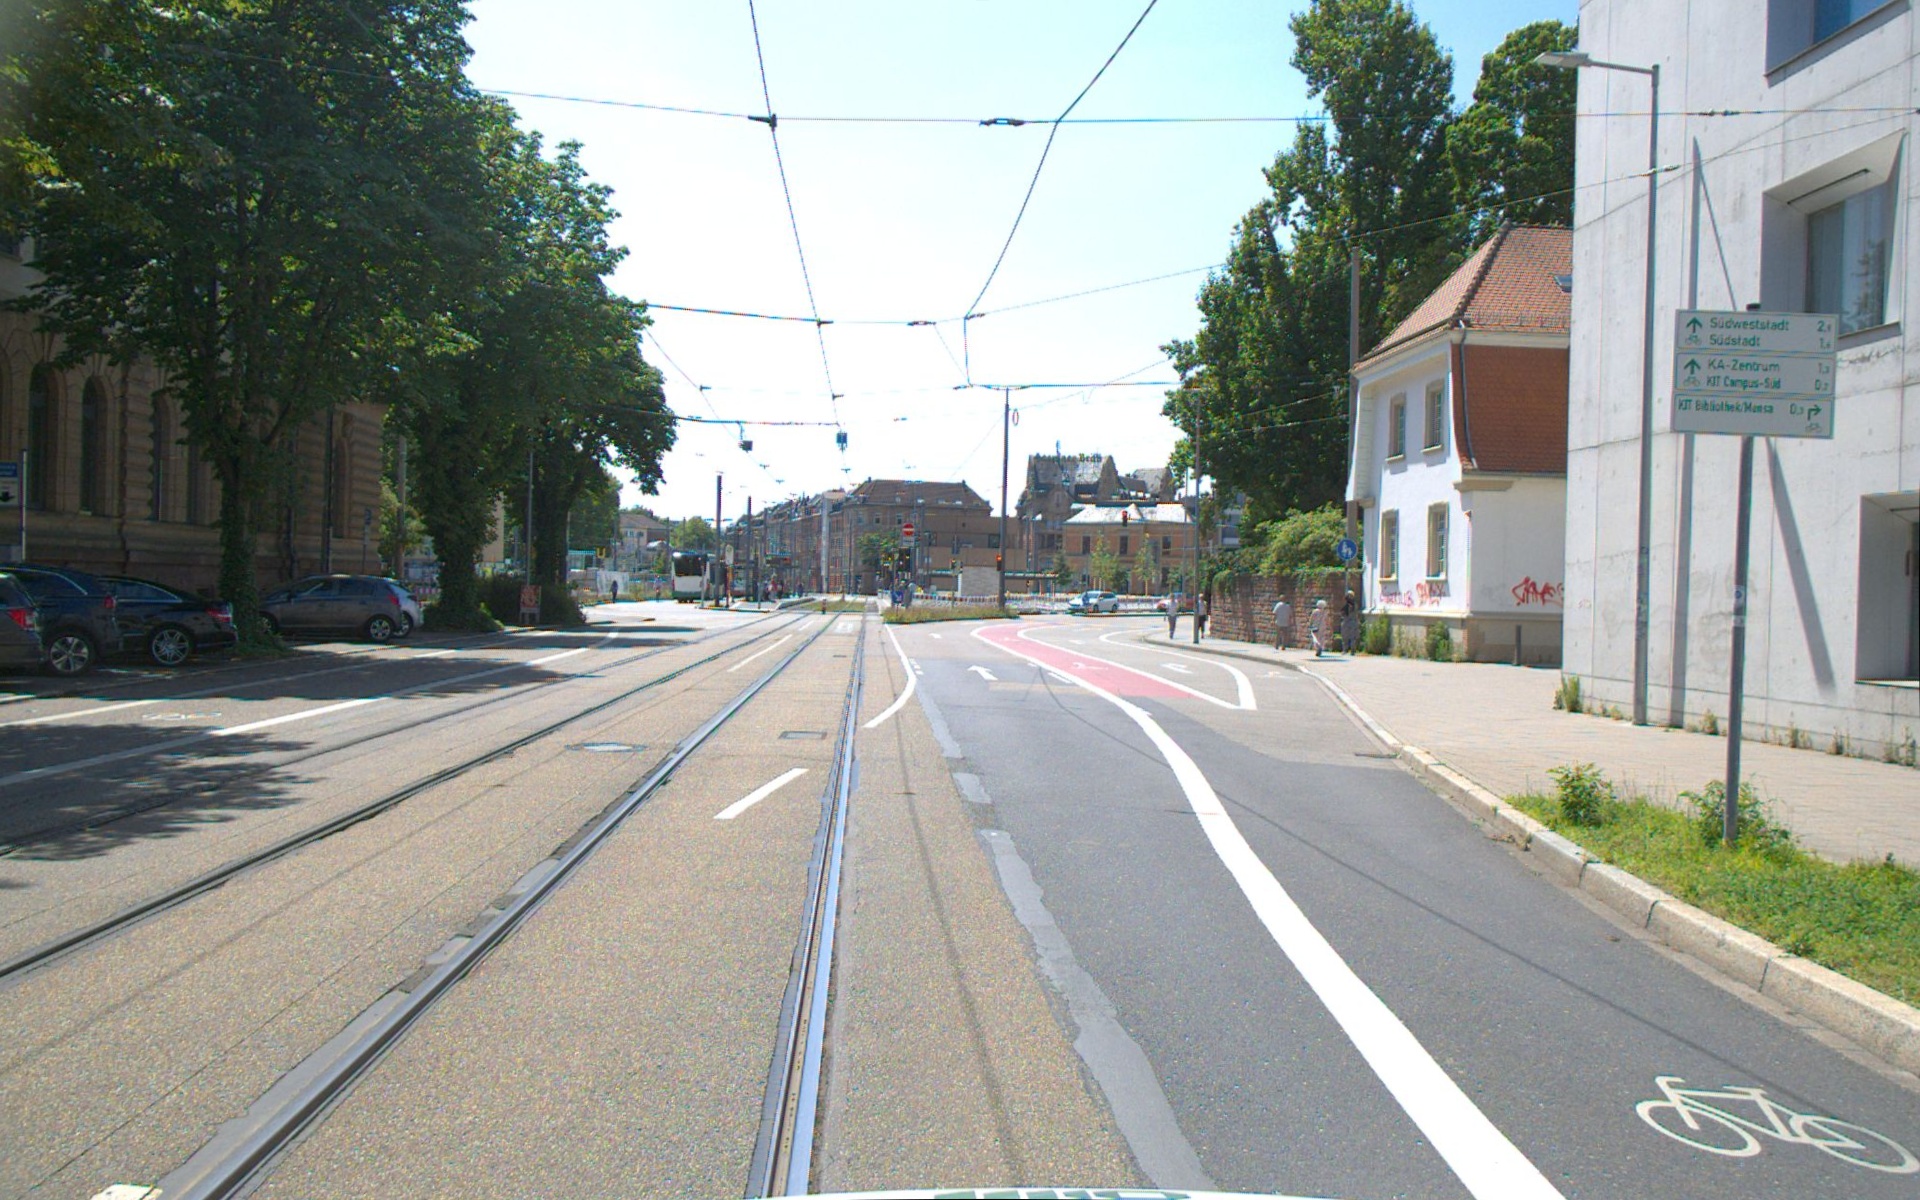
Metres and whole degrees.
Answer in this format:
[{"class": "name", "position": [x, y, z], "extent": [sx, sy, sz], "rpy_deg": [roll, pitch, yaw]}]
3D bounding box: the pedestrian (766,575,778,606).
[{"class": "pedestrian", "position": [-11.908, -0.578, 104.709], "extent": [0.661, 1.943, 0.638], "rpy_deg": [2, 0, -13]}]

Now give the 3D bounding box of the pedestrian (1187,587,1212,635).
[{"class": "pedestrian", "position": [9.259, 0.417, 63.950], "extent": [0.797, 1.839, 0.700], "rpy_deg": [2, 0, 1]}]

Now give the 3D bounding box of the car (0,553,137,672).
[{"class": "car", "position": [-13.766, 0.139, 23.232], "extent": [3.770, 1.604, 1.774], "rpy_deg": [2, 0, -33]}]

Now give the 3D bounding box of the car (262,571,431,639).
[{"class": "car", "position": [-14.712, 0.128, 39.702], "extent": [3.503, 1.430, 1.684], "rpy_deg": [3, 0, -32]}]

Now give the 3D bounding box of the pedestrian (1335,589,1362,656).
[{"class": "pedestrian", "position": [10.650, 0.616, 45.345], "extent": [0.613, 1.804, 0.719], "rpy_deg": [-2, 1, 7]}]

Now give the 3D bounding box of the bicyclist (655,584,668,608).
[{"class": "bicyclist", "position": [-21.627, -0.299, 119.909], "extent": [0.805, 1.739, 0.770], "rpy_deg": [2, 0, -5]}]

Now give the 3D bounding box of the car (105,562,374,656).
[{"class": "car", "position": [-11.708, 0.157, 26.921], "extent": [3.878, 1.398, 1.653], "rpy_deg": [2, 0, -29]}]

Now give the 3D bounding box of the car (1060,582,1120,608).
[{"class": "car", "position": [8.318, -0.284, 105.405], "extent": [1.957, 1.463, 4.695], "rpy_deg": [2, -1, 31]}]

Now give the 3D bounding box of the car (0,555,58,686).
[{"class": "car", "position": [-13.625, 0.140, 20.376], "extent": [4.267, 1.612, 1.651], "rpy_deg": [4, -1, -33]}]

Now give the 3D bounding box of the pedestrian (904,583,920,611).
[{"class": "pedestrian", "position": [-3.320, -0.221, 114.935], "extent": [0.761, 1.897, 0.718], "rpy_deg": [4, -2, -44]}]

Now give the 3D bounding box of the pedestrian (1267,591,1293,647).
[{"class": "pedestrian", "position": [9.830, 0.582, 50.747], "extent": [0.647, 1.676, 0.624], "rpy_deg": [2, 0, 2]}]

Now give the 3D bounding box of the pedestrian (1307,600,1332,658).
[{"class": "pedestrian", "position": [9.755, 0.776, 44.919], "extent": [0.505, 1.559, 0.598], "rpy_deg": [2, 0, 2]}]

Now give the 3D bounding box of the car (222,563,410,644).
[{"class": "car", "position": [-14.368, 0.082, 36.963], "extent": [3.629, 1.546, 1.652], "rpy_deg": [4, -1, -32]}]

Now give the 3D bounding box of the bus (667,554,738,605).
[{"class": "bus", "position": [-17.910, -1.394, 116.427], "extent": [2.950, 3.213, 17.489], "rpy_deg": [2, 0, -3]}]

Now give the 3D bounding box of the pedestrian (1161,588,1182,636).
[{"class": "pedestrian", "position": [8.191, 0.462, 64.029], "extent": [0.663, 1.839, 0.748], "rpy_deg": [2, 0, 1]}]
